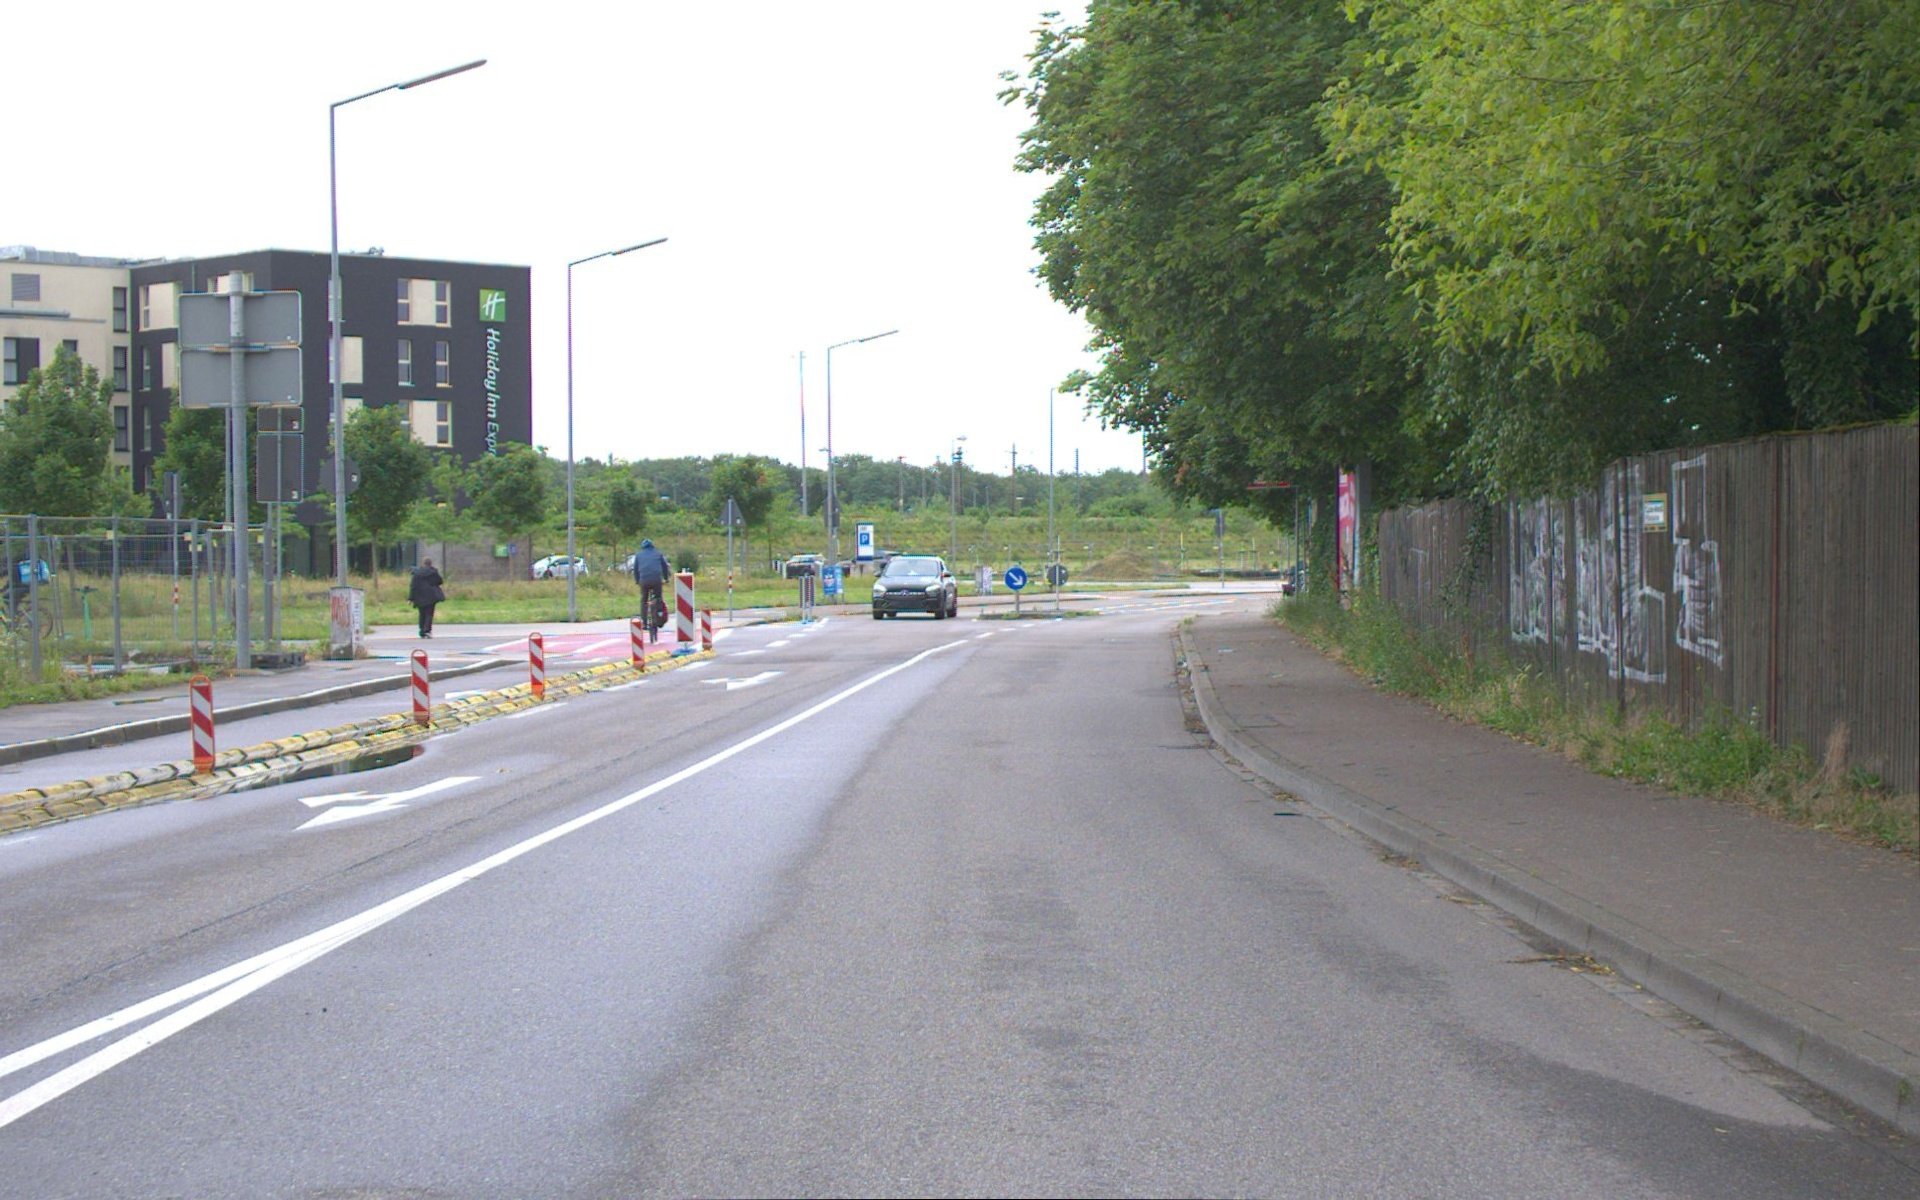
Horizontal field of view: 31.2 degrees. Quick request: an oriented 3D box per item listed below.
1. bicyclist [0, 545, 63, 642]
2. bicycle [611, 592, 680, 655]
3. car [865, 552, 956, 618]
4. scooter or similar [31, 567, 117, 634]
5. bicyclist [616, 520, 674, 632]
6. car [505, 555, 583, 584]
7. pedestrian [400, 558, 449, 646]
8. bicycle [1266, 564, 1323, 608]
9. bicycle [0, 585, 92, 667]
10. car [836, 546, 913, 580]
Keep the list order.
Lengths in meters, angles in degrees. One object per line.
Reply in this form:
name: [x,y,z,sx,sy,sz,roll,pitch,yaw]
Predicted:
bicyclist: [-18.653,-0.129,68.575,1.397,1.893,1.077,-1,1,-12]
bicycle: [-5.697,0.416,62.384,0.884,1.049,2.469,-1,1,3]
car: [-1.242,-0.404,88.225,1.881,1.561,4.357,-1,2,5]
scooter or similar: [-15.262,-0.001,59.213,0.655,1.138,1.902,0,1,-41]
bicyclist: [-5.703,-0.439,62.385,0.861,2.007,1.177,-1,1,3]
car: [-23.059,-1.722,190.674,1.998,1.512,4.145,0,2,37]
pedestrian: [-11.078,0.034,71.142,0.843,1.776,1.077,-1,1,0]
bicycle: [8.598,-0.371,88.367,0.797,1.107,1.949,0,1,27]
bicycle: [-18.628,0.512,68.603,2.491,1.578,1.087,-1,1,-12]
car: [-4.682,-2.049,187.927,1.995,1.816,3.998,-2,2,-44]
